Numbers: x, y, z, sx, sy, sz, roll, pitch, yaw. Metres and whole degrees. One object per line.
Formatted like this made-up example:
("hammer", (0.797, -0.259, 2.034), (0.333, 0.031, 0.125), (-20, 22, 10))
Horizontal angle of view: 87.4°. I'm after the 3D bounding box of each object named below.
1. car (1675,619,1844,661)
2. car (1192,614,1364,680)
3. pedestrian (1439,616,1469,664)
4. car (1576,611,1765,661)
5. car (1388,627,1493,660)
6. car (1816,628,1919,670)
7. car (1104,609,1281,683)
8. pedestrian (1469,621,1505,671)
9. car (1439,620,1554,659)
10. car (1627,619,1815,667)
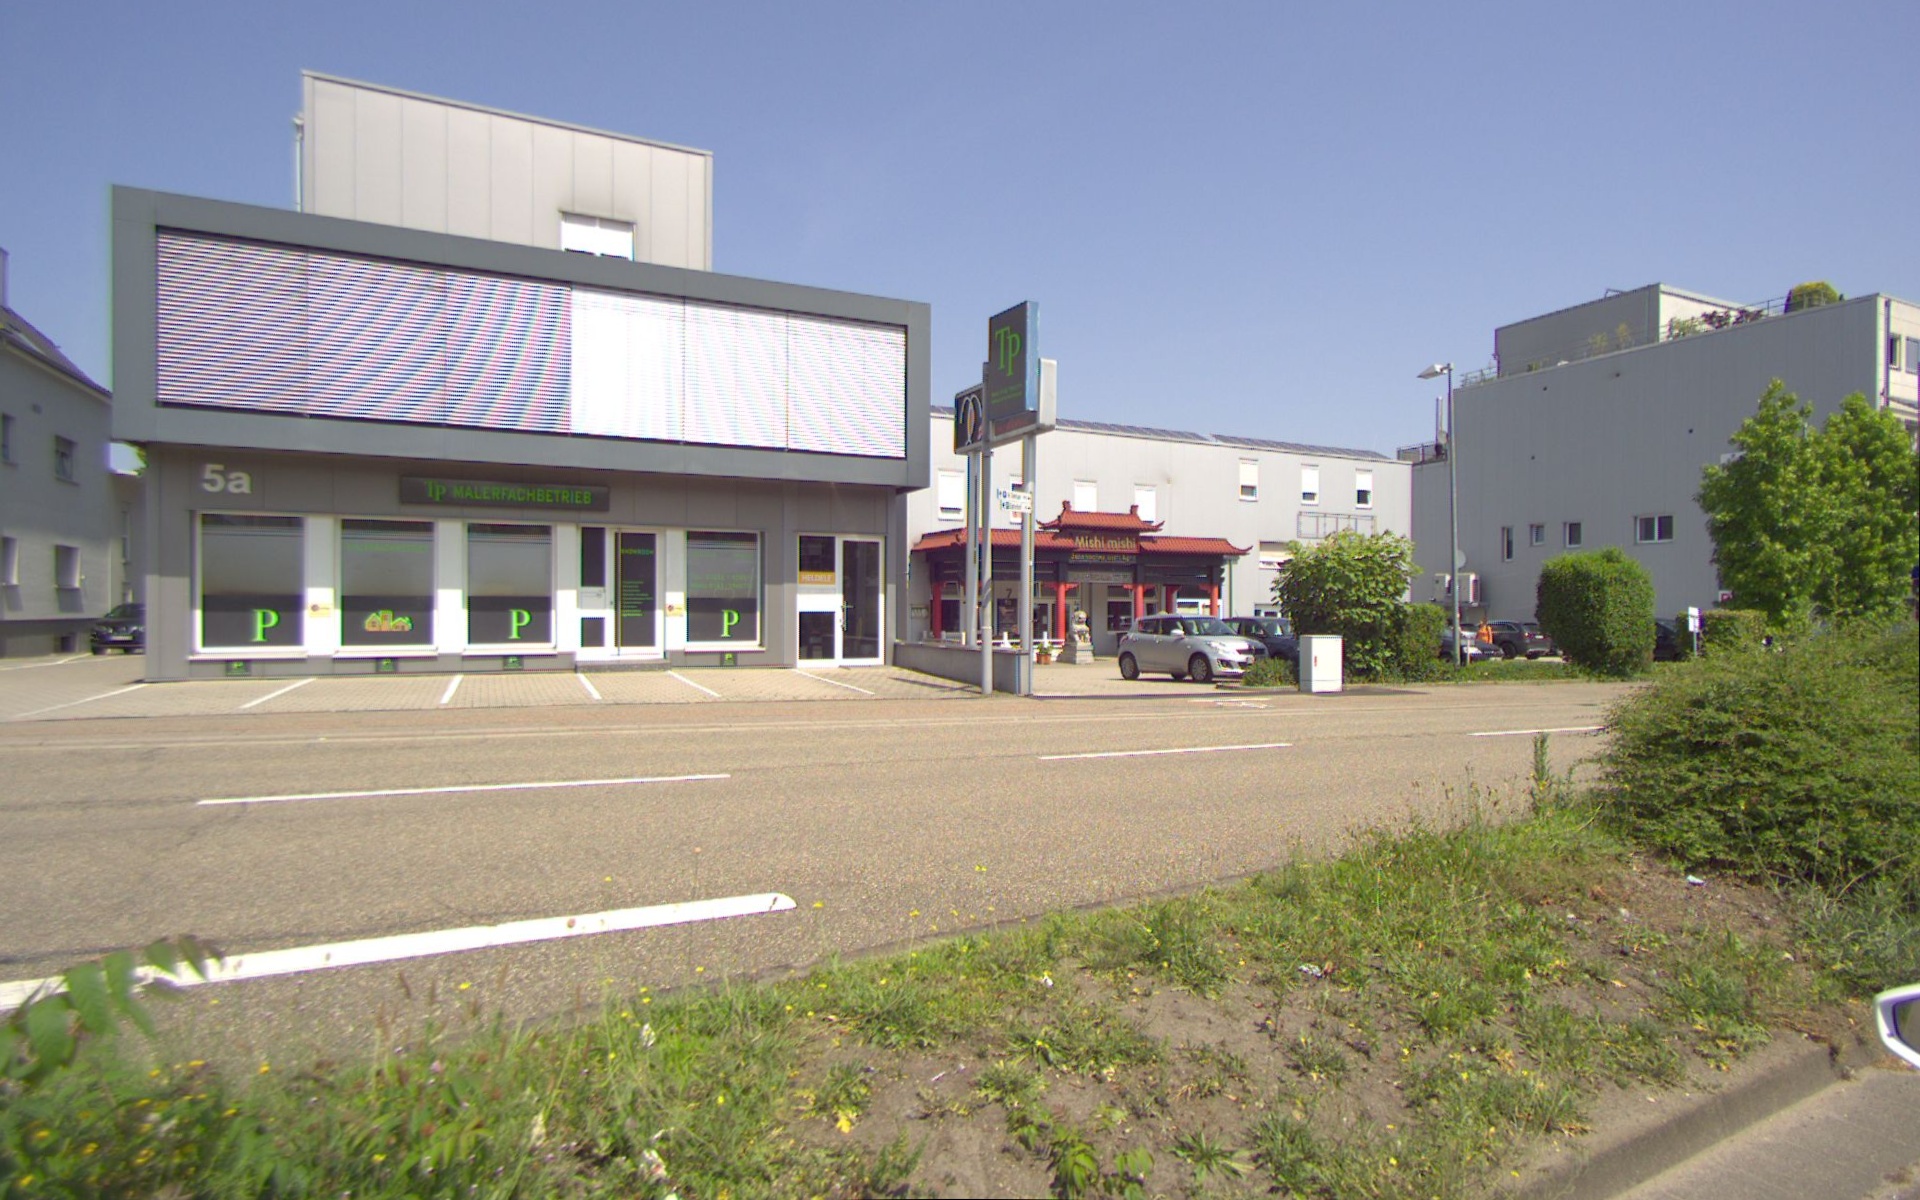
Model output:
("car", (25.579, 1.274, 32.276), (1.835, 1.246, 3.826), (0, -2, -26))
("car", (7.365, 1.079, 23.660), (1.645, 1.389, 3.988), (-1, -2, -23))
("pedestrian", (16.805, 1.367, 34.194), (0.694, 1.599, 0.578), (2, 0, -27))
("car", (20.951, 1.058, 29.812), (2.017, 1.360, 4.132), (0, -2, -28))
("car", (20.628, 1.819, 43.256), (1.836, 1.303, 3.826), (0, -1, -26))
("car", (34.471, 1.834, 38.137), (3.748, 1.486, 1.654), (0, -3, -27))
("car", (5.040, 1.054, 22.282), (1.557, 1.478, 3.968), (2, -4, -30))
("pedestrian", (17.598, 1.527, 33.542), (0.815, 1.605, 0.639), (2, 0, -27))
("car", (23.326, 1.760, 43.795), (1.977, 1.645, 3.969), (1, -4, -30))
("car", (23.417, 1.316, 31.090), (1.954, 1.366, 4.210), (0, -2, -26))
